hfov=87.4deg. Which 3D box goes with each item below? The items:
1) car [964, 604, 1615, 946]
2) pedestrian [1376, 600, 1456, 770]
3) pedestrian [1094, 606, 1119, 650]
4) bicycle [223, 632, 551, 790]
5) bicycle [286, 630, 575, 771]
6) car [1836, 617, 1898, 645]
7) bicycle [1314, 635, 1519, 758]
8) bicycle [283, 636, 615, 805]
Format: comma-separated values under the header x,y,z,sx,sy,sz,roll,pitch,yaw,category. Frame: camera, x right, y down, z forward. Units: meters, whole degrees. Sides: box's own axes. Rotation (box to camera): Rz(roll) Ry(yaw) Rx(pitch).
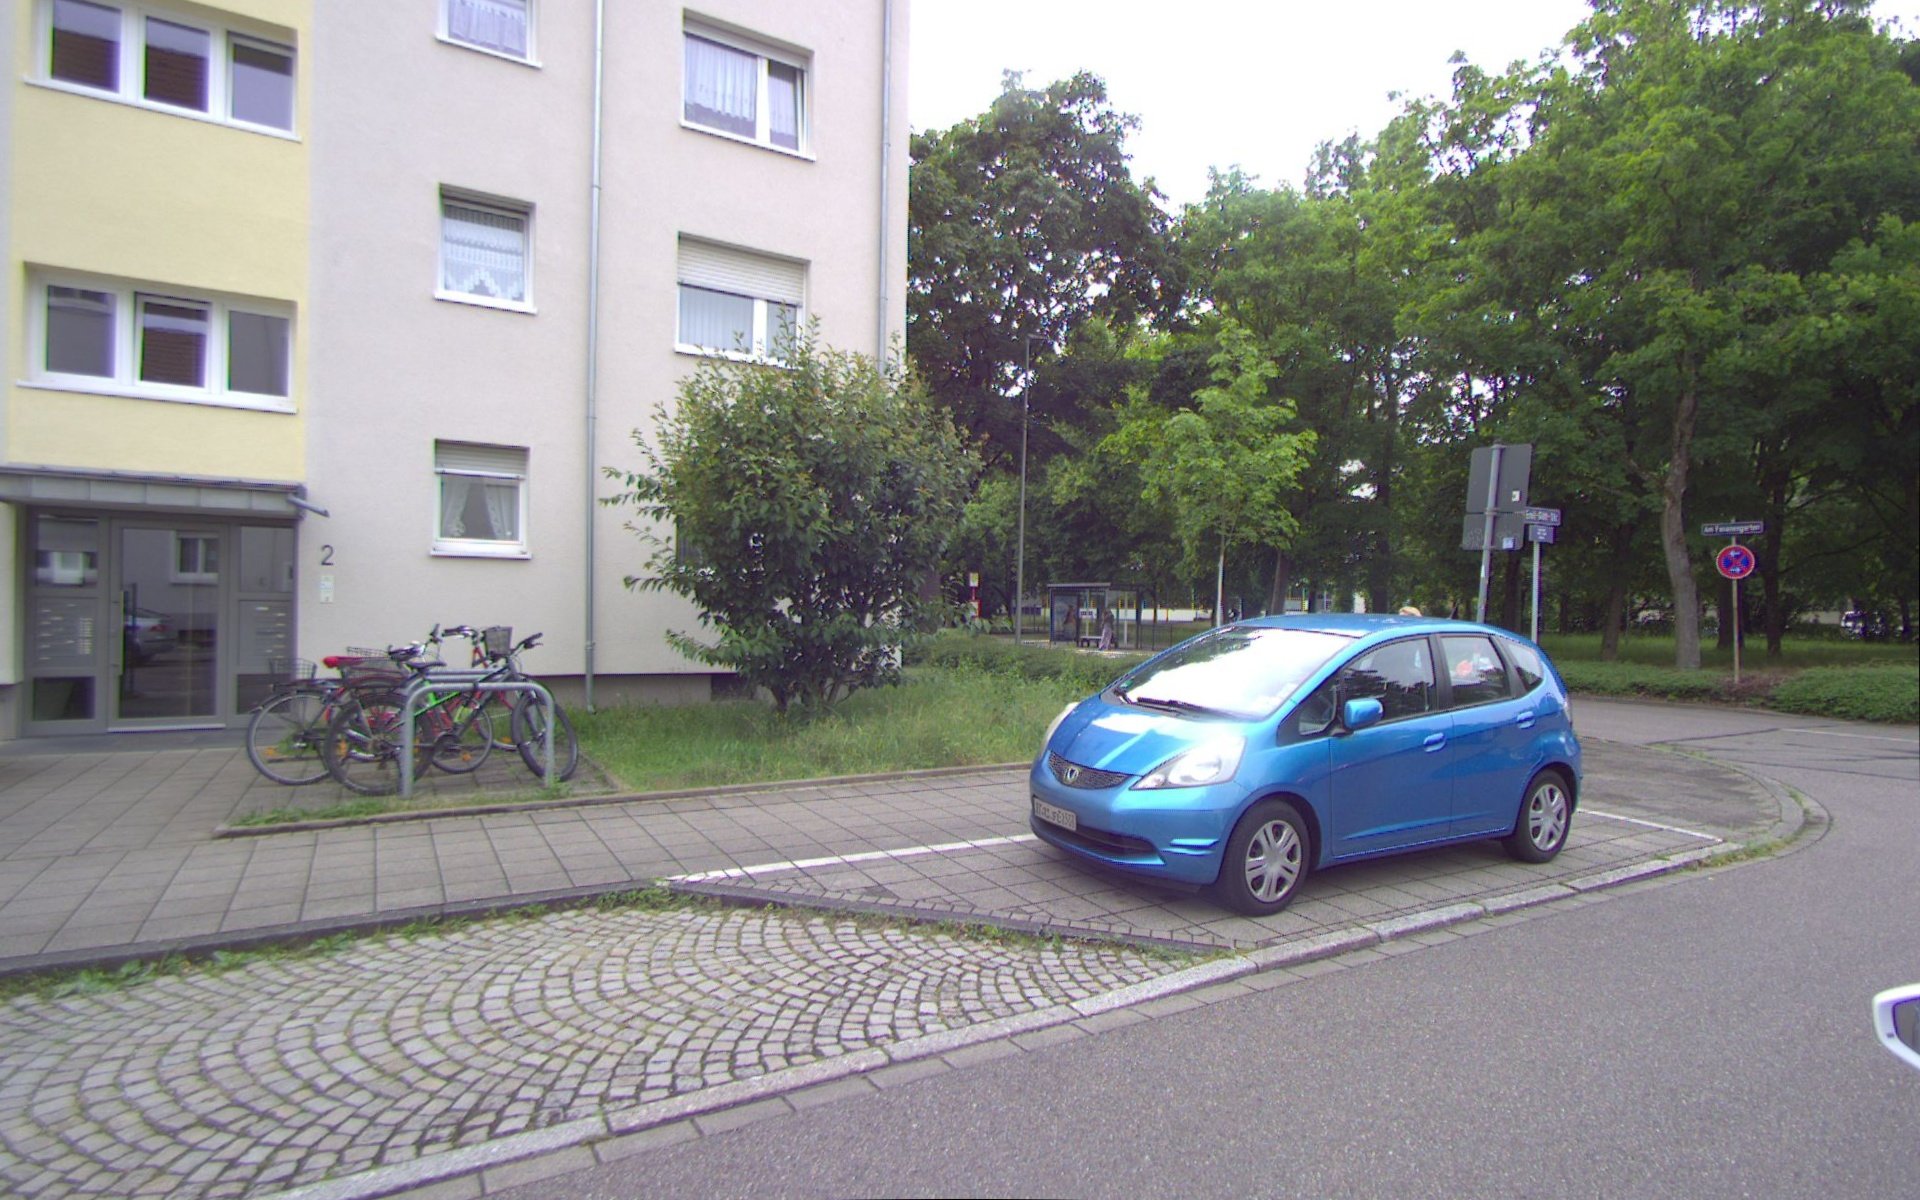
x,y,z,sx,sy,sz,roll,pitch,yaw,category
2.152,0.836,6.311,3.911,1.482,1.721,1,2,-31,car
4.373,0.800,9.667,0.556,1.571,0.448,2,2,11,pedestrian
5.463,1.039,37.469,0.648,1.604,0.693,0,0,-29,pedestrian
-4.403,0.808,7.884,2.149,1.085,0.654,1,0,-30,bicycle
-4.544,0.817,8.750,2.149,1.085,0.654,1,0,-30,bicycle
54.040,1.841,59.841,3.959,1.639,1.906,1,-1,-34,car
4.519,0.935,10.042,1.781,1.134,0.538,0,0,12,bicycle
-3.699,0.820,7.420,2.097,1.082,0.654,1,0,-30,bicycle
